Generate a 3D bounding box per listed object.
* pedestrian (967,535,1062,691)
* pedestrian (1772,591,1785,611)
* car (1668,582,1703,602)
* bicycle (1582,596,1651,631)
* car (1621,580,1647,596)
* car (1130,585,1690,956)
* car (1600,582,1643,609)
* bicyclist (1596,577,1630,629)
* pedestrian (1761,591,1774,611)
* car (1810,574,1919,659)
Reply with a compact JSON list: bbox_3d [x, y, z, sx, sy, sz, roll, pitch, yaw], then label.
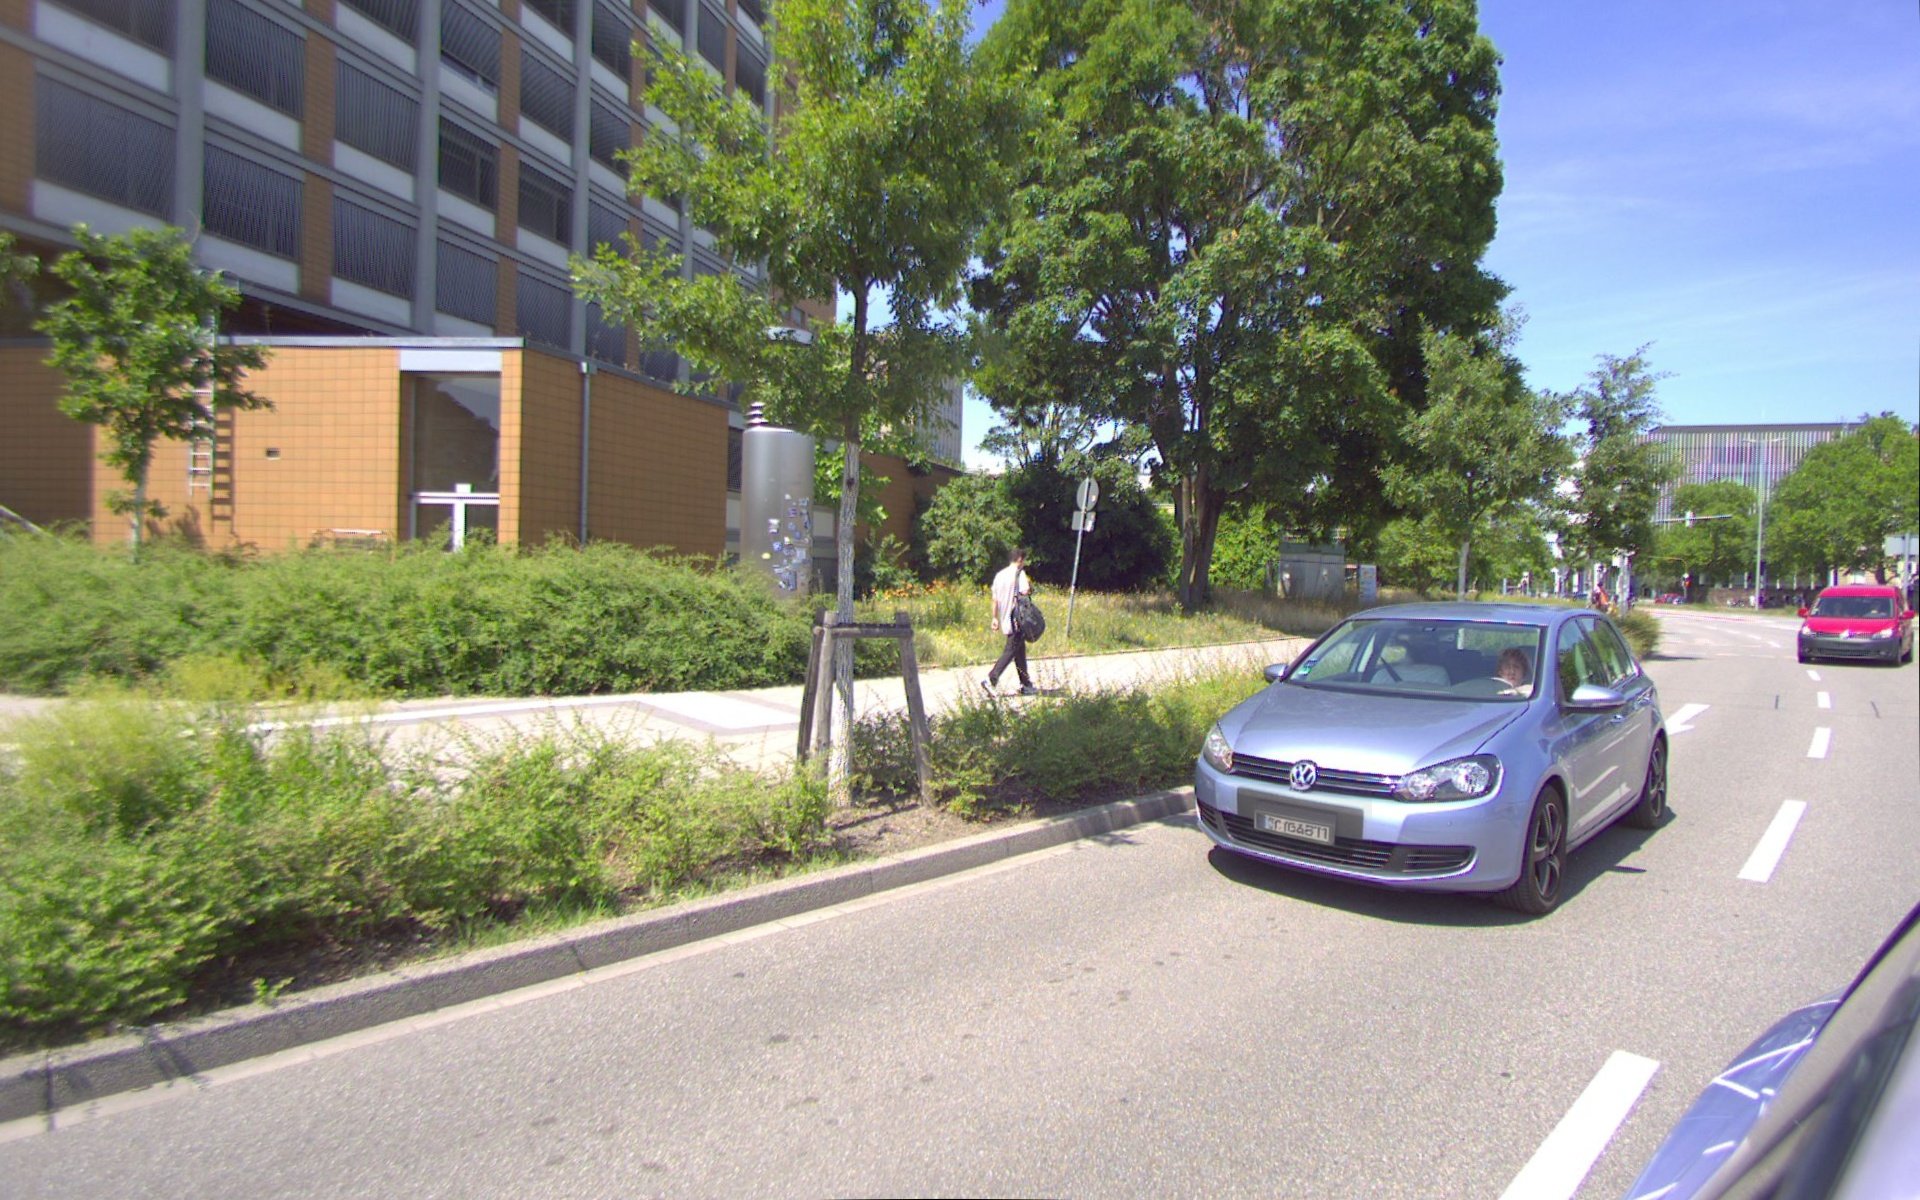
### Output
[{"bbox_3d":[0.630,0.139,11.726,0.796,1.727,0.733,1,0,-40],"label":"pedestrian"},{"bbox_3d":[85.763,0.109,105.998,0.779,2.039,0.834,2,-1,20],"label":"pedestrian"},{"bbox_3d":[78.877,-0.884,110.124,1.976,2.039,4.184,2,-1,21],"label":"car"},{"bbox_3d":[22.045,0.439,34.029,0.547,1.058,2.002,3,1,-18],"label":"bicycle"},{"bbox_3d":[79.125,-1.415,118.888,1.762,1.705,3.968,2,-1,23],"label":"car"},{"bbox_3d":[2.914,0.661,6.077,1.828,1.432,3.931,3,2,44],"label":"car"},{"bbox_3d":[43.358,-0.267,66.422,1.691,1.606,4.515,2,-1,25],"label":"car"},{"bbox_3d":[22.043,0.095,34.166,0.540,1.737,0.705,3,0,-17],"label":"bicyclist"},{"bbox_3d":[84.924,0.084,106.446,0.779,2.039,0.957,2,-1,20],"label":"pedestrian"},{"bbox_3d":[21.052,0.395,23.464,1.828,1.789,4.212,2,-1,43],"label":"car"}]
